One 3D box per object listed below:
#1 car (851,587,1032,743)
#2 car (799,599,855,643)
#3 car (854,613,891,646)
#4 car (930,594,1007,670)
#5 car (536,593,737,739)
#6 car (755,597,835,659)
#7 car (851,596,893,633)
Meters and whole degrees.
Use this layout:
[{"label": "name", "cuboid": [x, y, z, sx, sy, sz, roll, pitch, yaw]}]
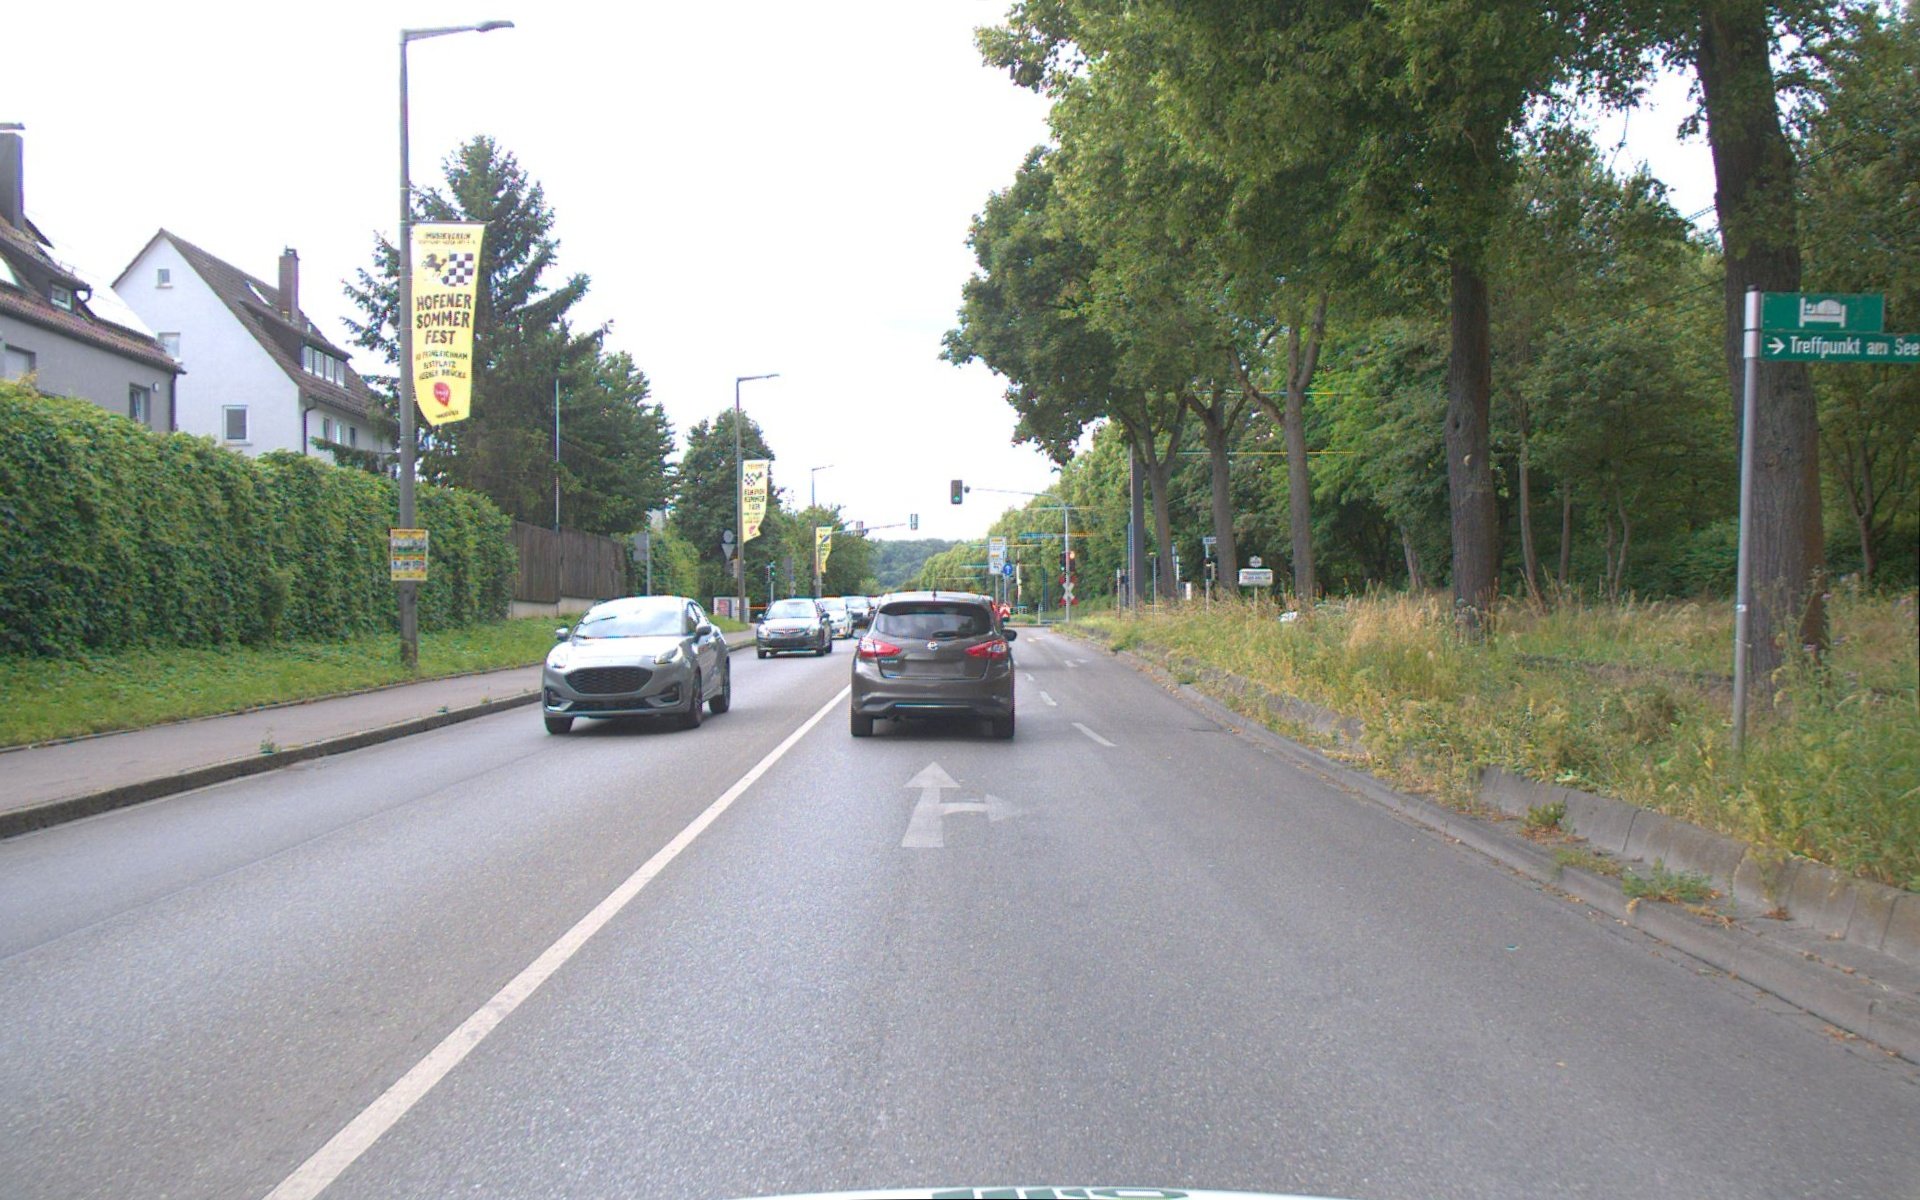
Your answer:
[{"label": "car", "cuboid": [-0.181, 0.649, 18.907, 1.797, 1.545, 4.482, 1, 0, 0]}, {"label": "car", "cuboid": [-4.866, 0.747, 60.984, 1.585, 1.486, 4.072, -4, 0, 0]}, {"label": "car", "cuboid": [-4.498, 1.484, 85.299, 1.776, 1.550, 4.176, -2, 0, -2]}, {"label": "car", "cuboid": [0.171, 0.618, 34.578, 1.507, 1.504, 3.764, 0, 0, 0]}, {"label": "car", "cuboid": [-3.868, 0.732, 20.405, 1.716, 1.545, 3.999, -2, 0, -1]}, {"label": "car", "cuboid": [-4.335, 0.707, 43.947, 1.693, 1.490, 4.153, -2, 0, -1]}, {"label": "car", "cuboid": [-3.751, 0.598, 71.092, 1.610, 1.507, 4.106, -2, 0, -2]}]
